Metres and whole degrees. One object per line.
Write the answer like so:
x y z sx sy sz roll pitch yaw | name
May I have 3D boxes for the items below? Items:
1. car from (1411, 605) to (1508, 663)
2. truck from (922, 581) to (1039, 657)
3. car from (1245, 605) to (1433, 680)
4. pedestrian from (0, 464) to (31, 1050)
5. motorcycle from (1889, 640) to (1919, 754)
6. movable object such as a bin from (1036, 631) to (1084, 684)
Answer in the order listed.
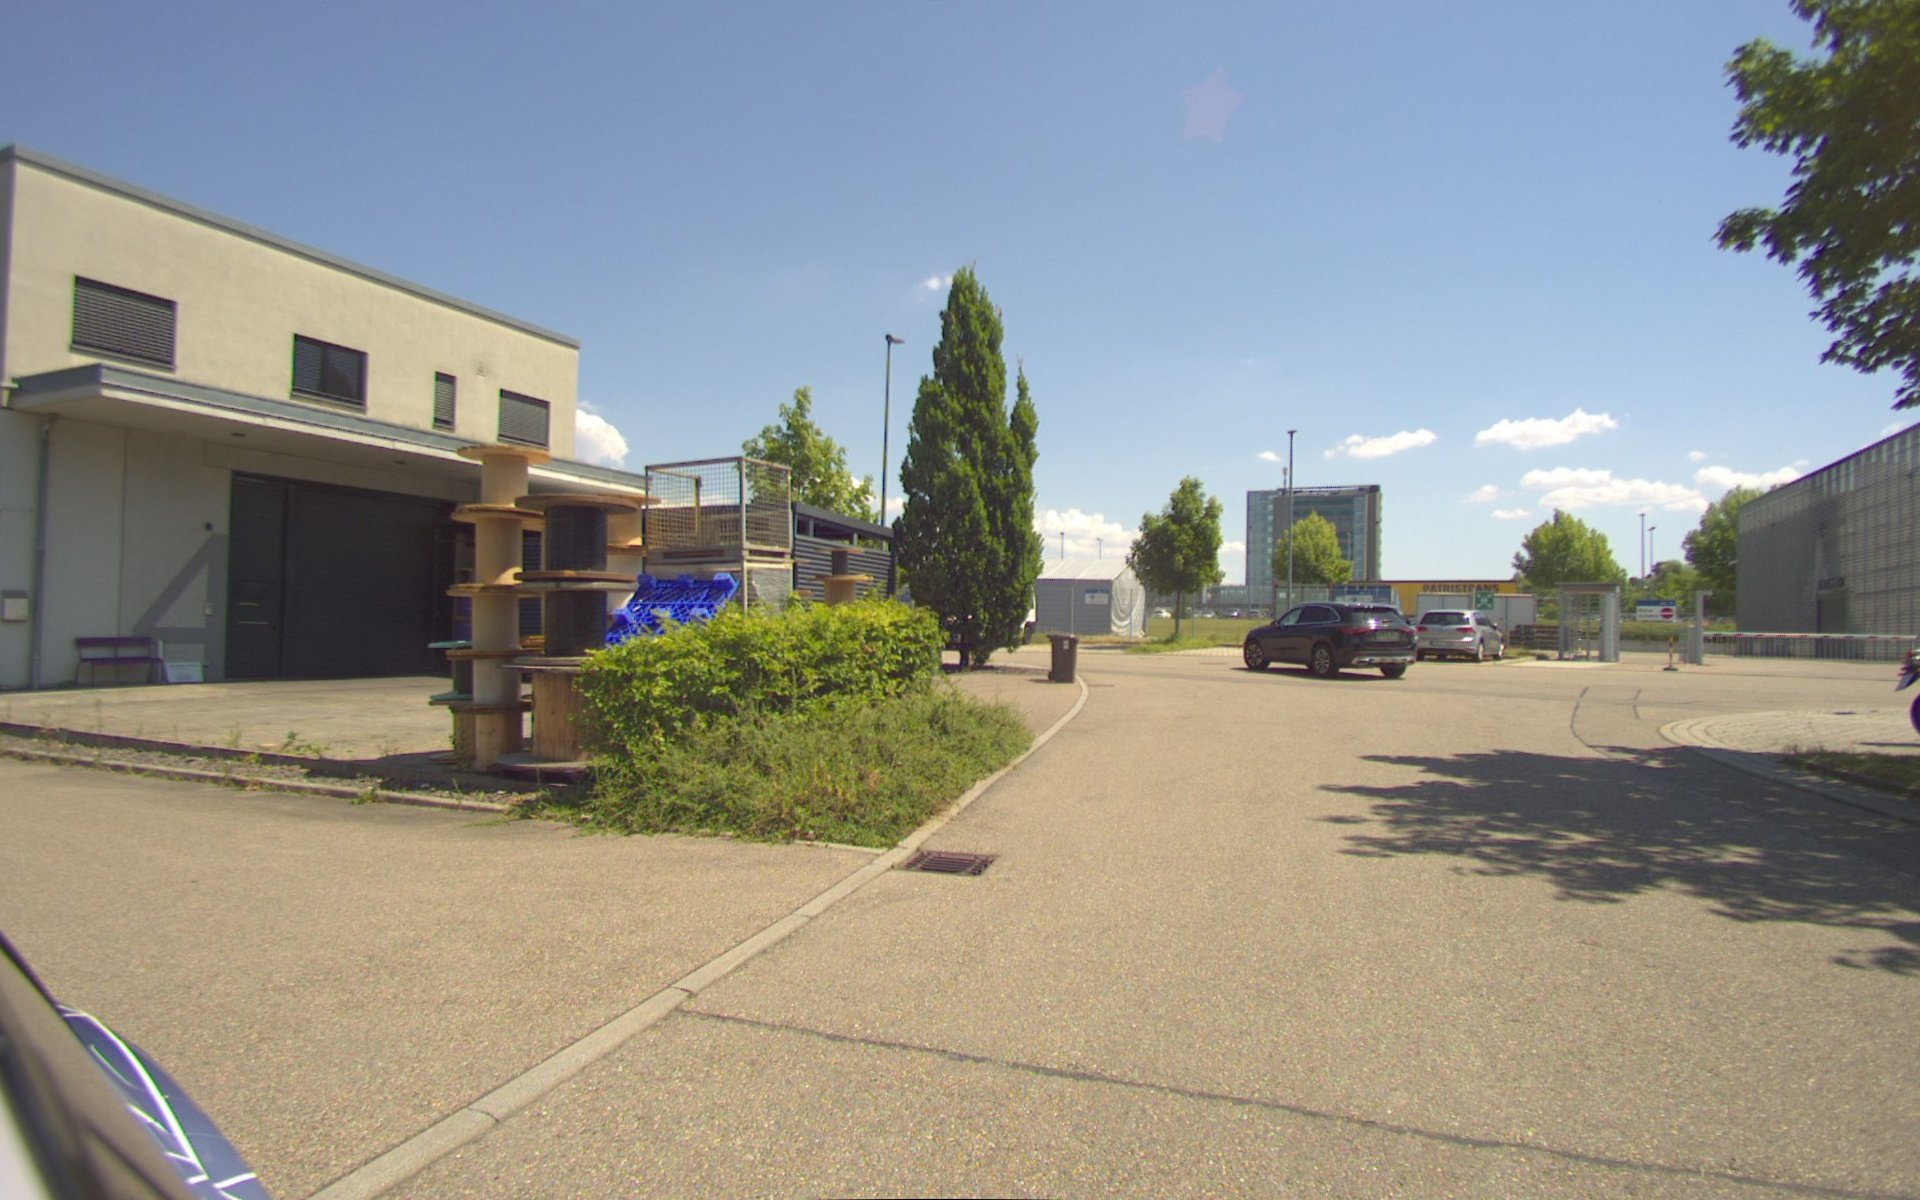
14.323 0.927 28.942 1.652 1.533 3.947 0 -1 39 | car
0.913 0.705 38.913 2.405 2.692 5.648 0 -1 25 | truck
8.321 0.907 22.681 1.927 1.525 4.269 1 -1 -12 | car
-3.540 0.501 3.171 0.847 1.834 0.906 1 -1 -39 | pedestrian
10.573 0.968 10.022 1.973 1.117 0.481 0 -1 18 | motorcycle
1.928 1.092 19.509 0.757 0.977 0.584 0 -1 30 | movable object such as a bin
